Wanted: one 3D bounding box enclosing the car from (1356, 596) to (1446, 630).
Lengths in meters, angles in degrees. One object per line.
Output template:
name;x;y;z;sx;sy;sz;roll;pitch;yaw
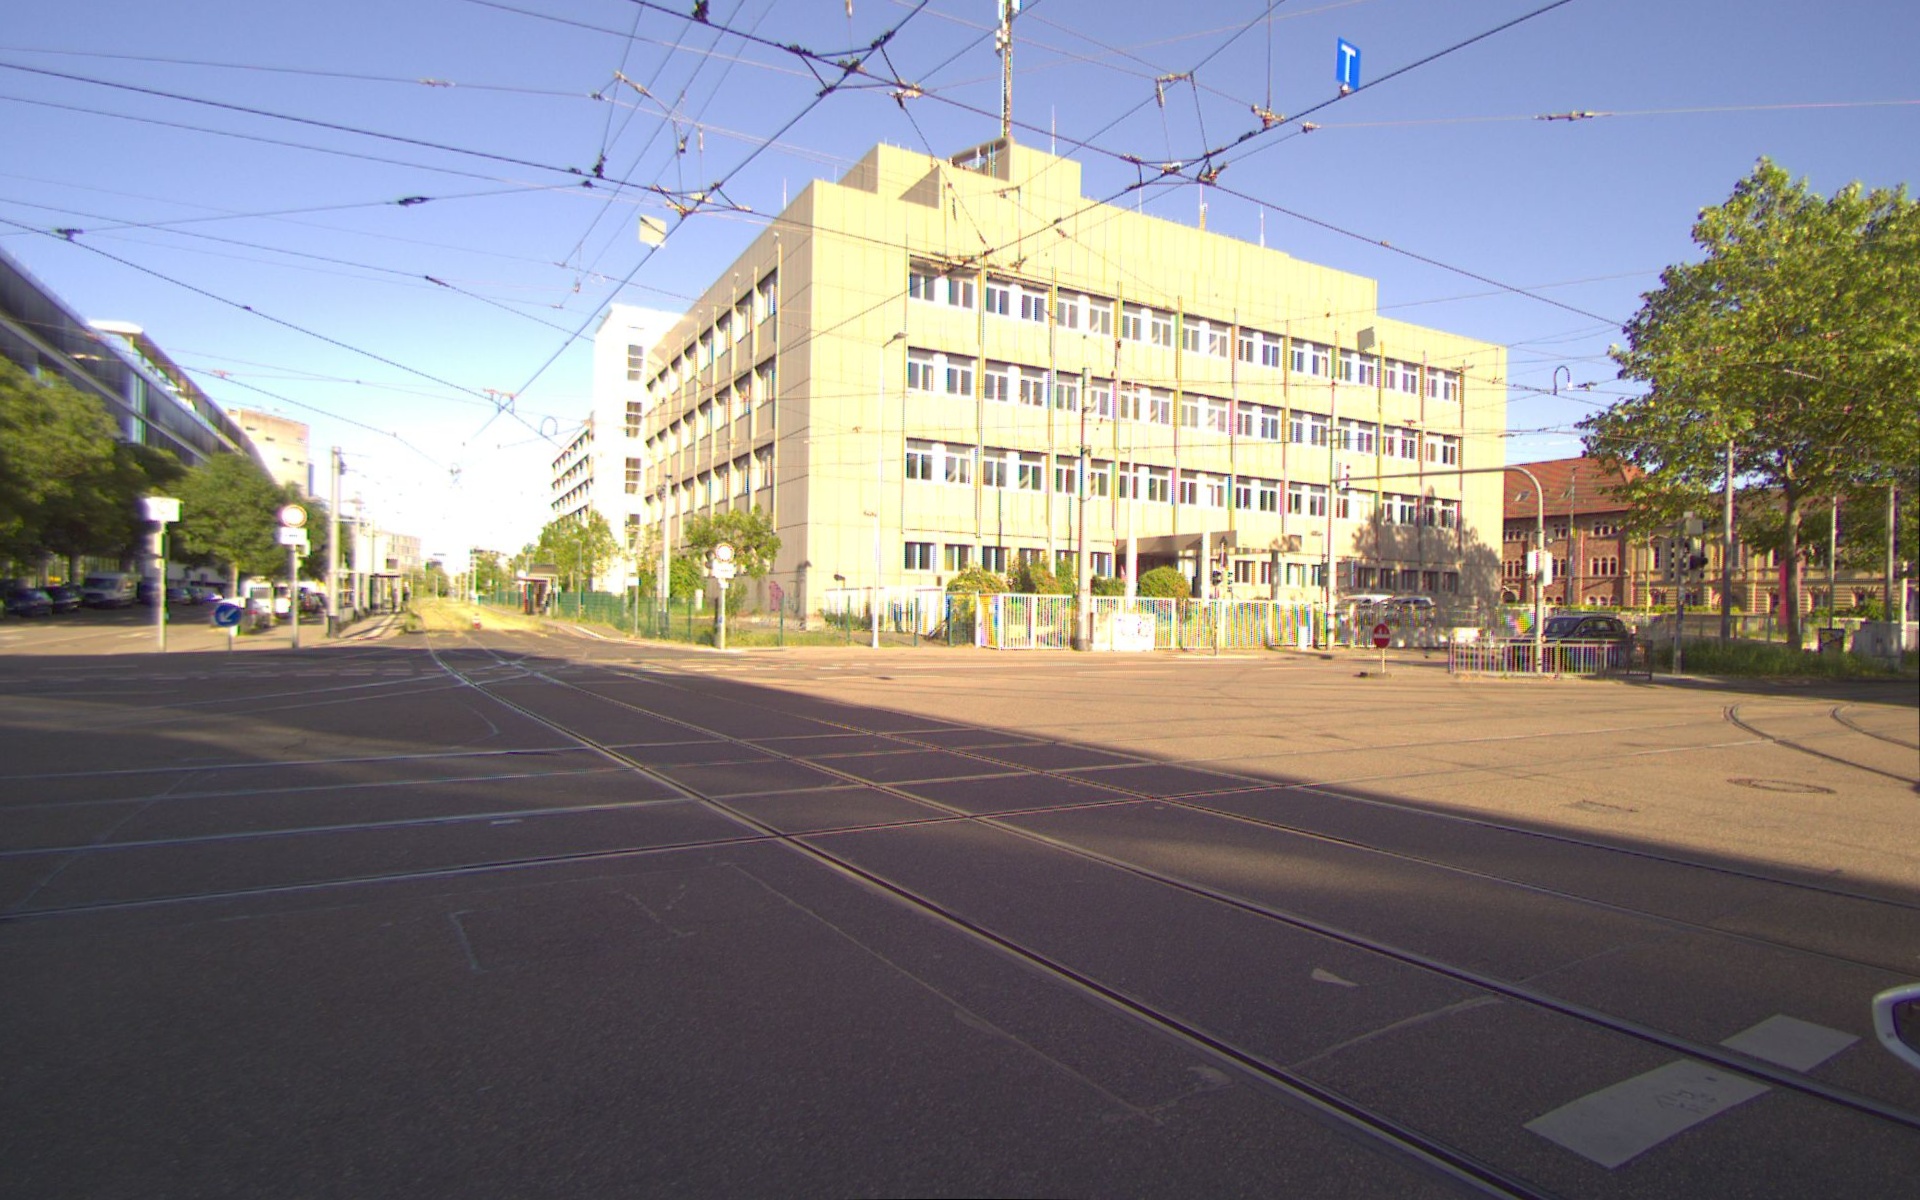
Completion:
car;23.298;0.689;53.084;4.318;1.726;1.988;1;0;-25

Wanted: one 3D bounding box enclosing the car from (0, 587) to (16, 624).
car;-43.960;0.225;44.877;1.715;1.675;3.922;1;0;-30

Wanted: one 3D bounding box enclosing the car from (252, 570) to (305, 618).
car;-37.961;-0.320;56.052;2.158;2.539;4.363;1;0;-31

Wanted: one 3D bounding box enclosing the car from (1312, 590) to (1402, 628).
car;22.058;0.535;55.811;4.660;2.040;1.988;1;0;-25

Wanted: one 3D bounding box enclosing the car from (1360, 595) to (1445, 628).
car;28.647;0.754;65.173;1.980;2.040;4.708;1;-1;-35

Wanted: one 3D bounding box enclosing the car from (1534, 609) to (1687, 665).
car;20.472;1.127;31.598;4.693;1.638;1.986;1;0;-27

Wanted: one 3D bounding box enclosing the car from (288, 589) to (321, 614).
car;-44.186;0.097;67.771;1.734;1.579;3.916;1;0;-31

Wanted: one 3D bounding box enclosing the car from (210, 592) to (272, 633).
car;-31.540;0.535;44.115;2.088;1.720;3.931;1;0;-35

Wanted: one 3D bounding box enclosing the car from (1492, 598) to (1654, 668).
car;18.458;0.954;30.250;4.361;1.974;1.989;0;0;-23

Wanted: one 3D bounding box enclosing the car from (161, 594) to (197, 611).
car;-66.384;0.224;85.409;1.978;1.364;3.966;1;0;-32

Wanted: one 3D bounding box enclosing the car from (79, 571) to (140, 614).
car;-55.769;-0.475;65.947;2.207;2.690;5.085;1;0;-31

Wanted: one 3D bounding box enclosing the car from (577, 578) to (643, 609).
car;-23.902;-0.416;68.559;3.952;2.040;1.984;0;0;-30

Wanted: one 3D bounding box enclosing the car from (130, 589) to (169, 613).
car;-60.173;0.051;74.632;1.716;1.675;3.767;1;0;-31

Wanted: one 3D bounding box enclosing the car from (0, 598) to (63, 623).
car;-47.506;0.523;51.362;1.789;1.204;3.767;1;0;-31
